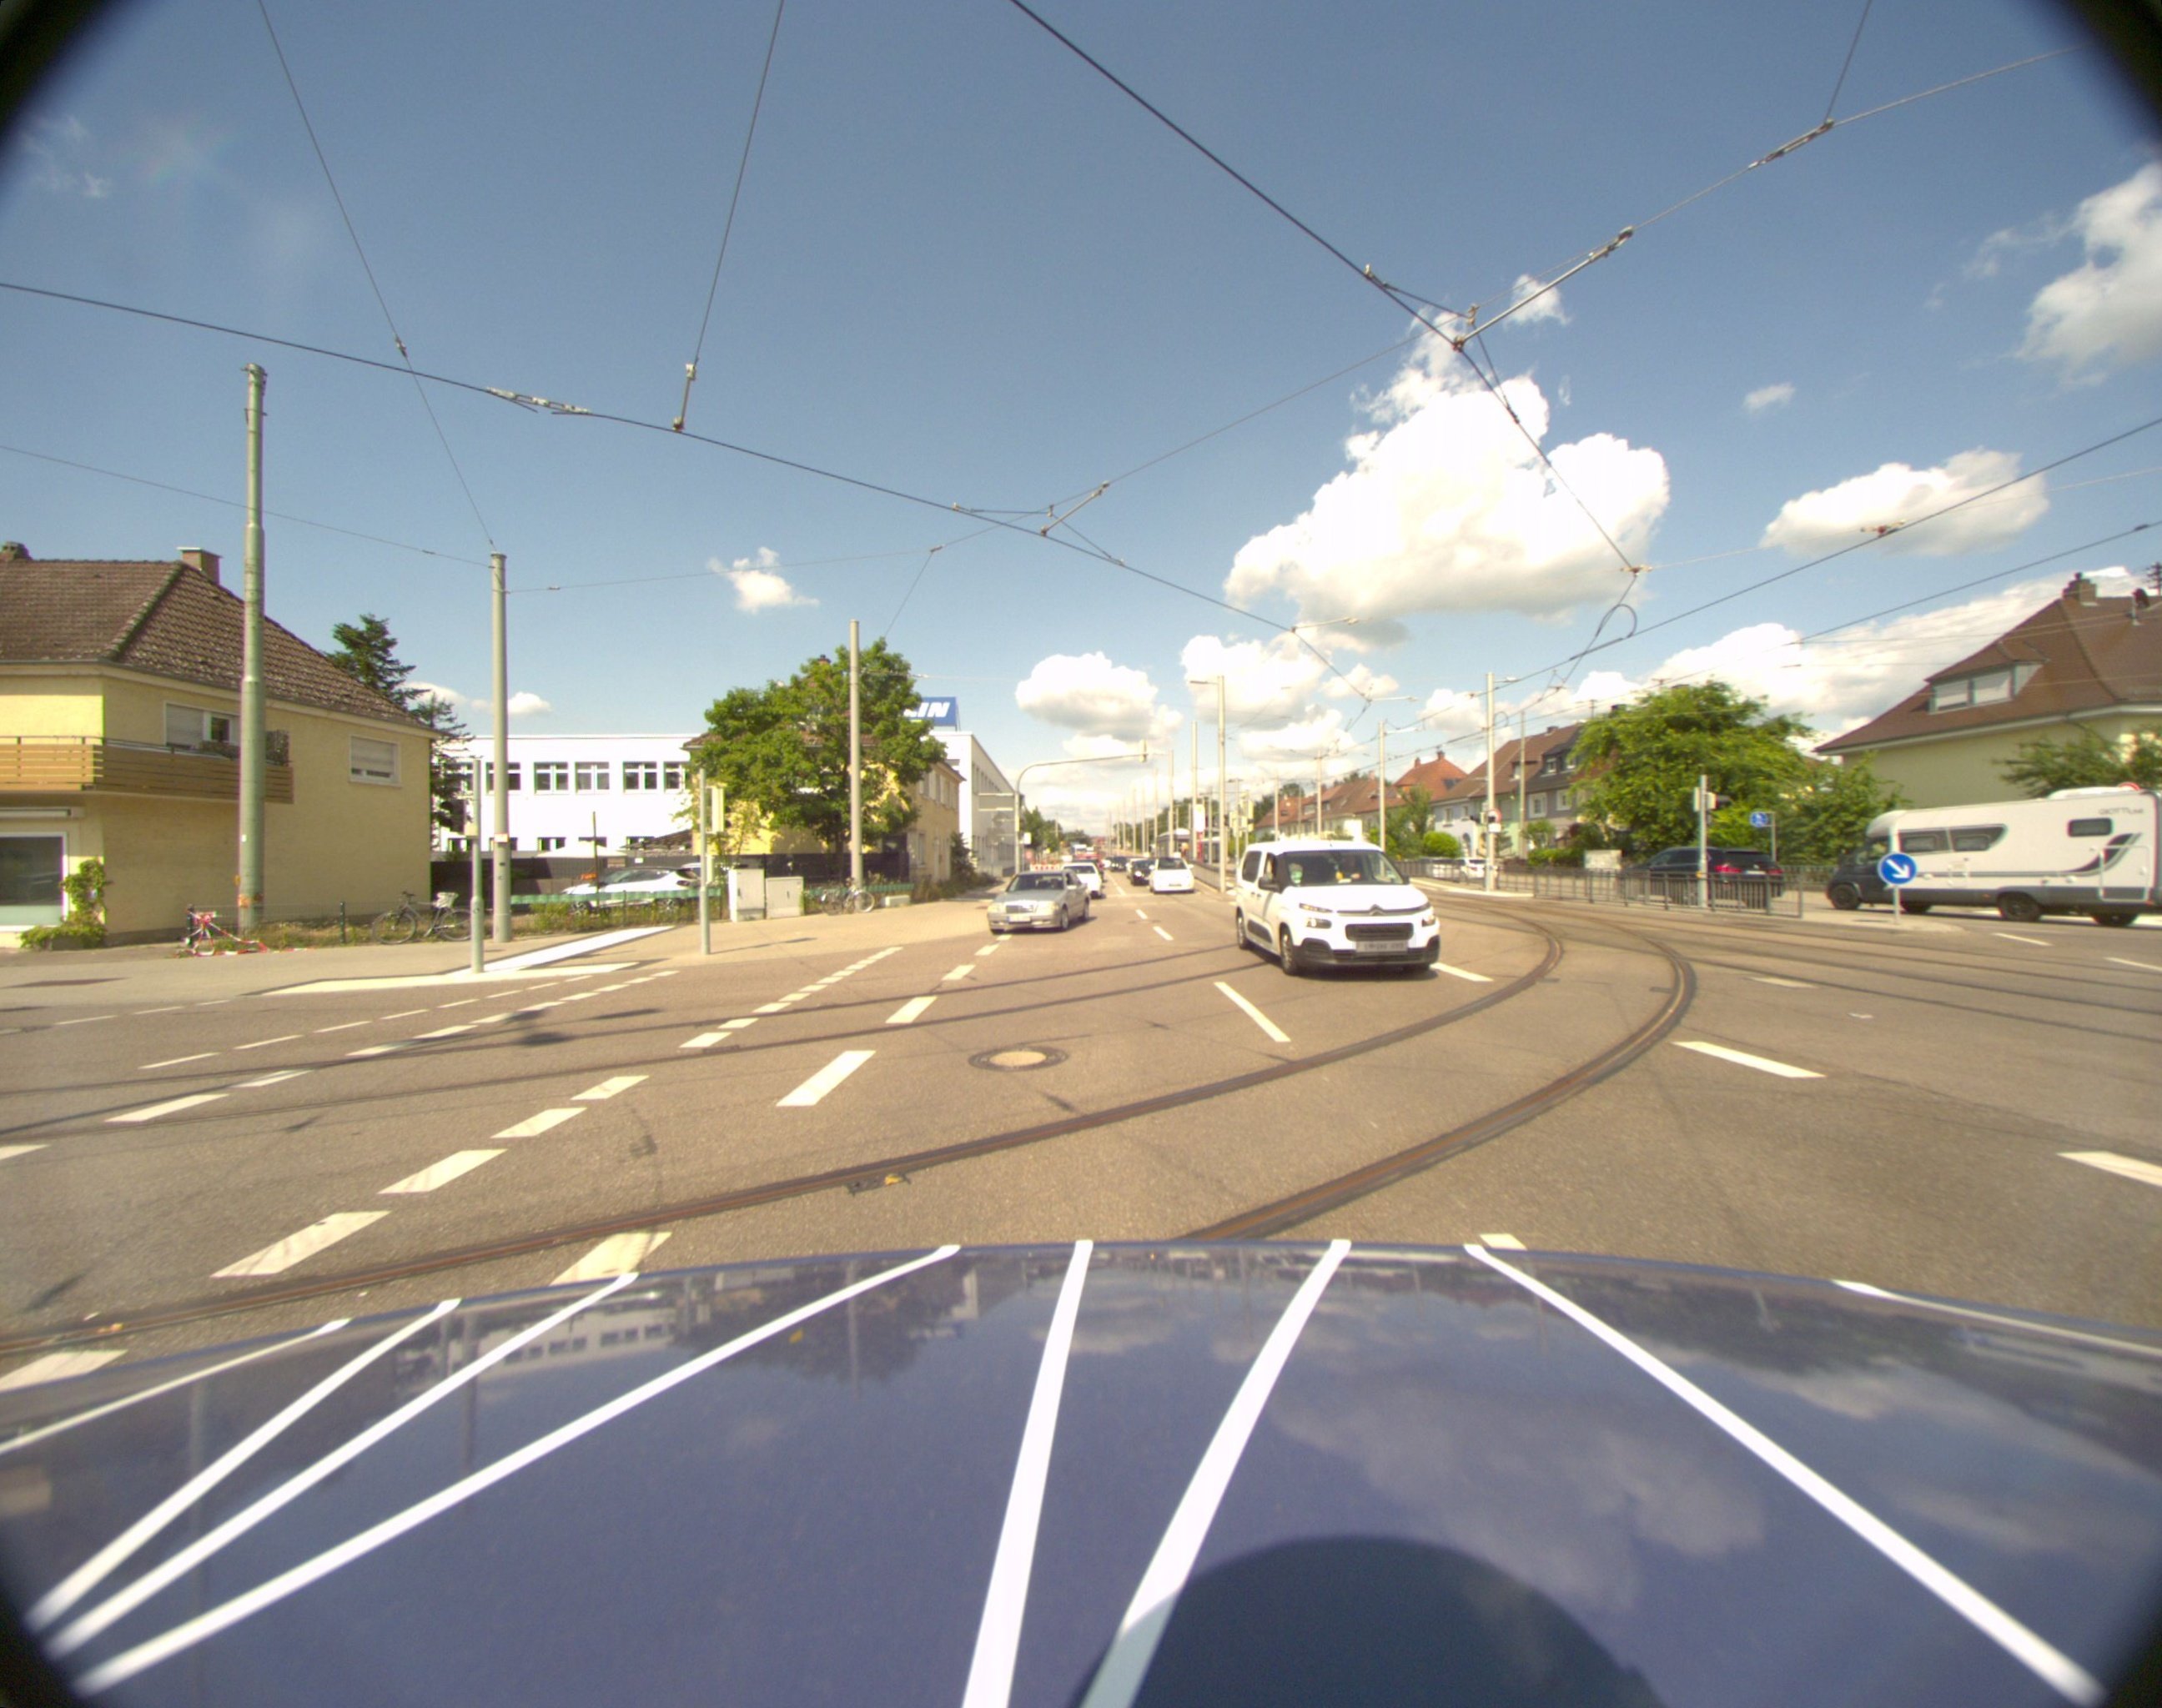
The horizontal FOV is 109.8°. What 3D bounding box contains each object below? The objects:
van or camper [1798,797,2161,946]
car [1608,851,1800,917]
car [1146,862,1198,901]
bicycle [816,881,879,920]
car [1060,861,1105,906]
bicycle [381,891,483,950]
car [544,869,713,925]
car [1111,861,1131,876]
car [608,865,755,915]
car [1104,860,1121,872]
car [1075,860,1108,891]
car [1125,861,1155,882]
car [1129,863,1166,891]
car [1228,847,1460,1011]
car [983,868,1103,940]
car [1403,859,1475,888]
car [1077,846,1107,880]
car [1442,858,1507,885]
[{"bbox_3d":[22.393,0.321,18.660,2.329,2.913,7.754,1,1,1],"label":"van or camper"},{"bbox_3d":[18.559,0.818,23.034,1.998,1.766,4.879,1,0,3],"label":"car"},{"bbox_3d":[3.873,1.156,32.885,1.680,1.495,3.393,-2,0,-2],"label":"car"},{"bbox_3d":[-6.853,1.359,22.409,0.462,1.013,1.759,-1,1,41],"label":"bicycle"},{"bbox_3d":[0.044,1.148,30.987,1.664,1.564,3.999,-2,1,-1],"label":"car"},{"bbox_3d":[-13.920,1.417,16.333,1.576,1.131,0.380,-2,1,-27],"label":"bicycle"},{"bbox_3d":[-13.962,1.299,23.662,4.118,1.587,1.800,-1,0,-5],"label":"car"},{"bbox_3d":[3.953,1.461,76.438,1.698,1.350,4.498,-2,1,-1],"label":"car"},{"bbox_3d":[-13.756,1.213,26.377,4.118,1.587,1.800,-1,0,-5],"label":"car"},{"bbox_3d":[3.658,1.392,89.326,1.698,1.350,4.498,-2,1,-1],"label":"car"},{"bbox_3d":[0.538,1.177,42.313,1.664,1.529,3.999,-2,1,-1],"label":"car"},{"bbox_3d":[4.247,1.243,55.261,1.698,1.350,4.498,-2,1,-1],"label":"car"},{"bbox_3d":[3.752,1.295,43.408,1.680,1.414,3.557,-2,1,-2],"label":"car"},{"bbox_3d":[3.424,0.857,10.842,1.799,1.804,4.329,-2,0,1],"label":"car"},{"bbox_3d":[-0.783,1.135,18.743,1.723,1.389,4.467,-2,1,13],"label":"car"},{"bbox_3d":[19.370,1.030,41.351,1.998,1.344,4.177,-2,1,1],"label":"car"},{"bbox_3d":[0.701,0.564,51.948,1.787,2.134,5.168,-2,1,-1],"label":"car"},{"bbox_3d":[22.781,0.978,44.151,1.688,1.344,4.346,-2,1,4],"label":"car"}]
